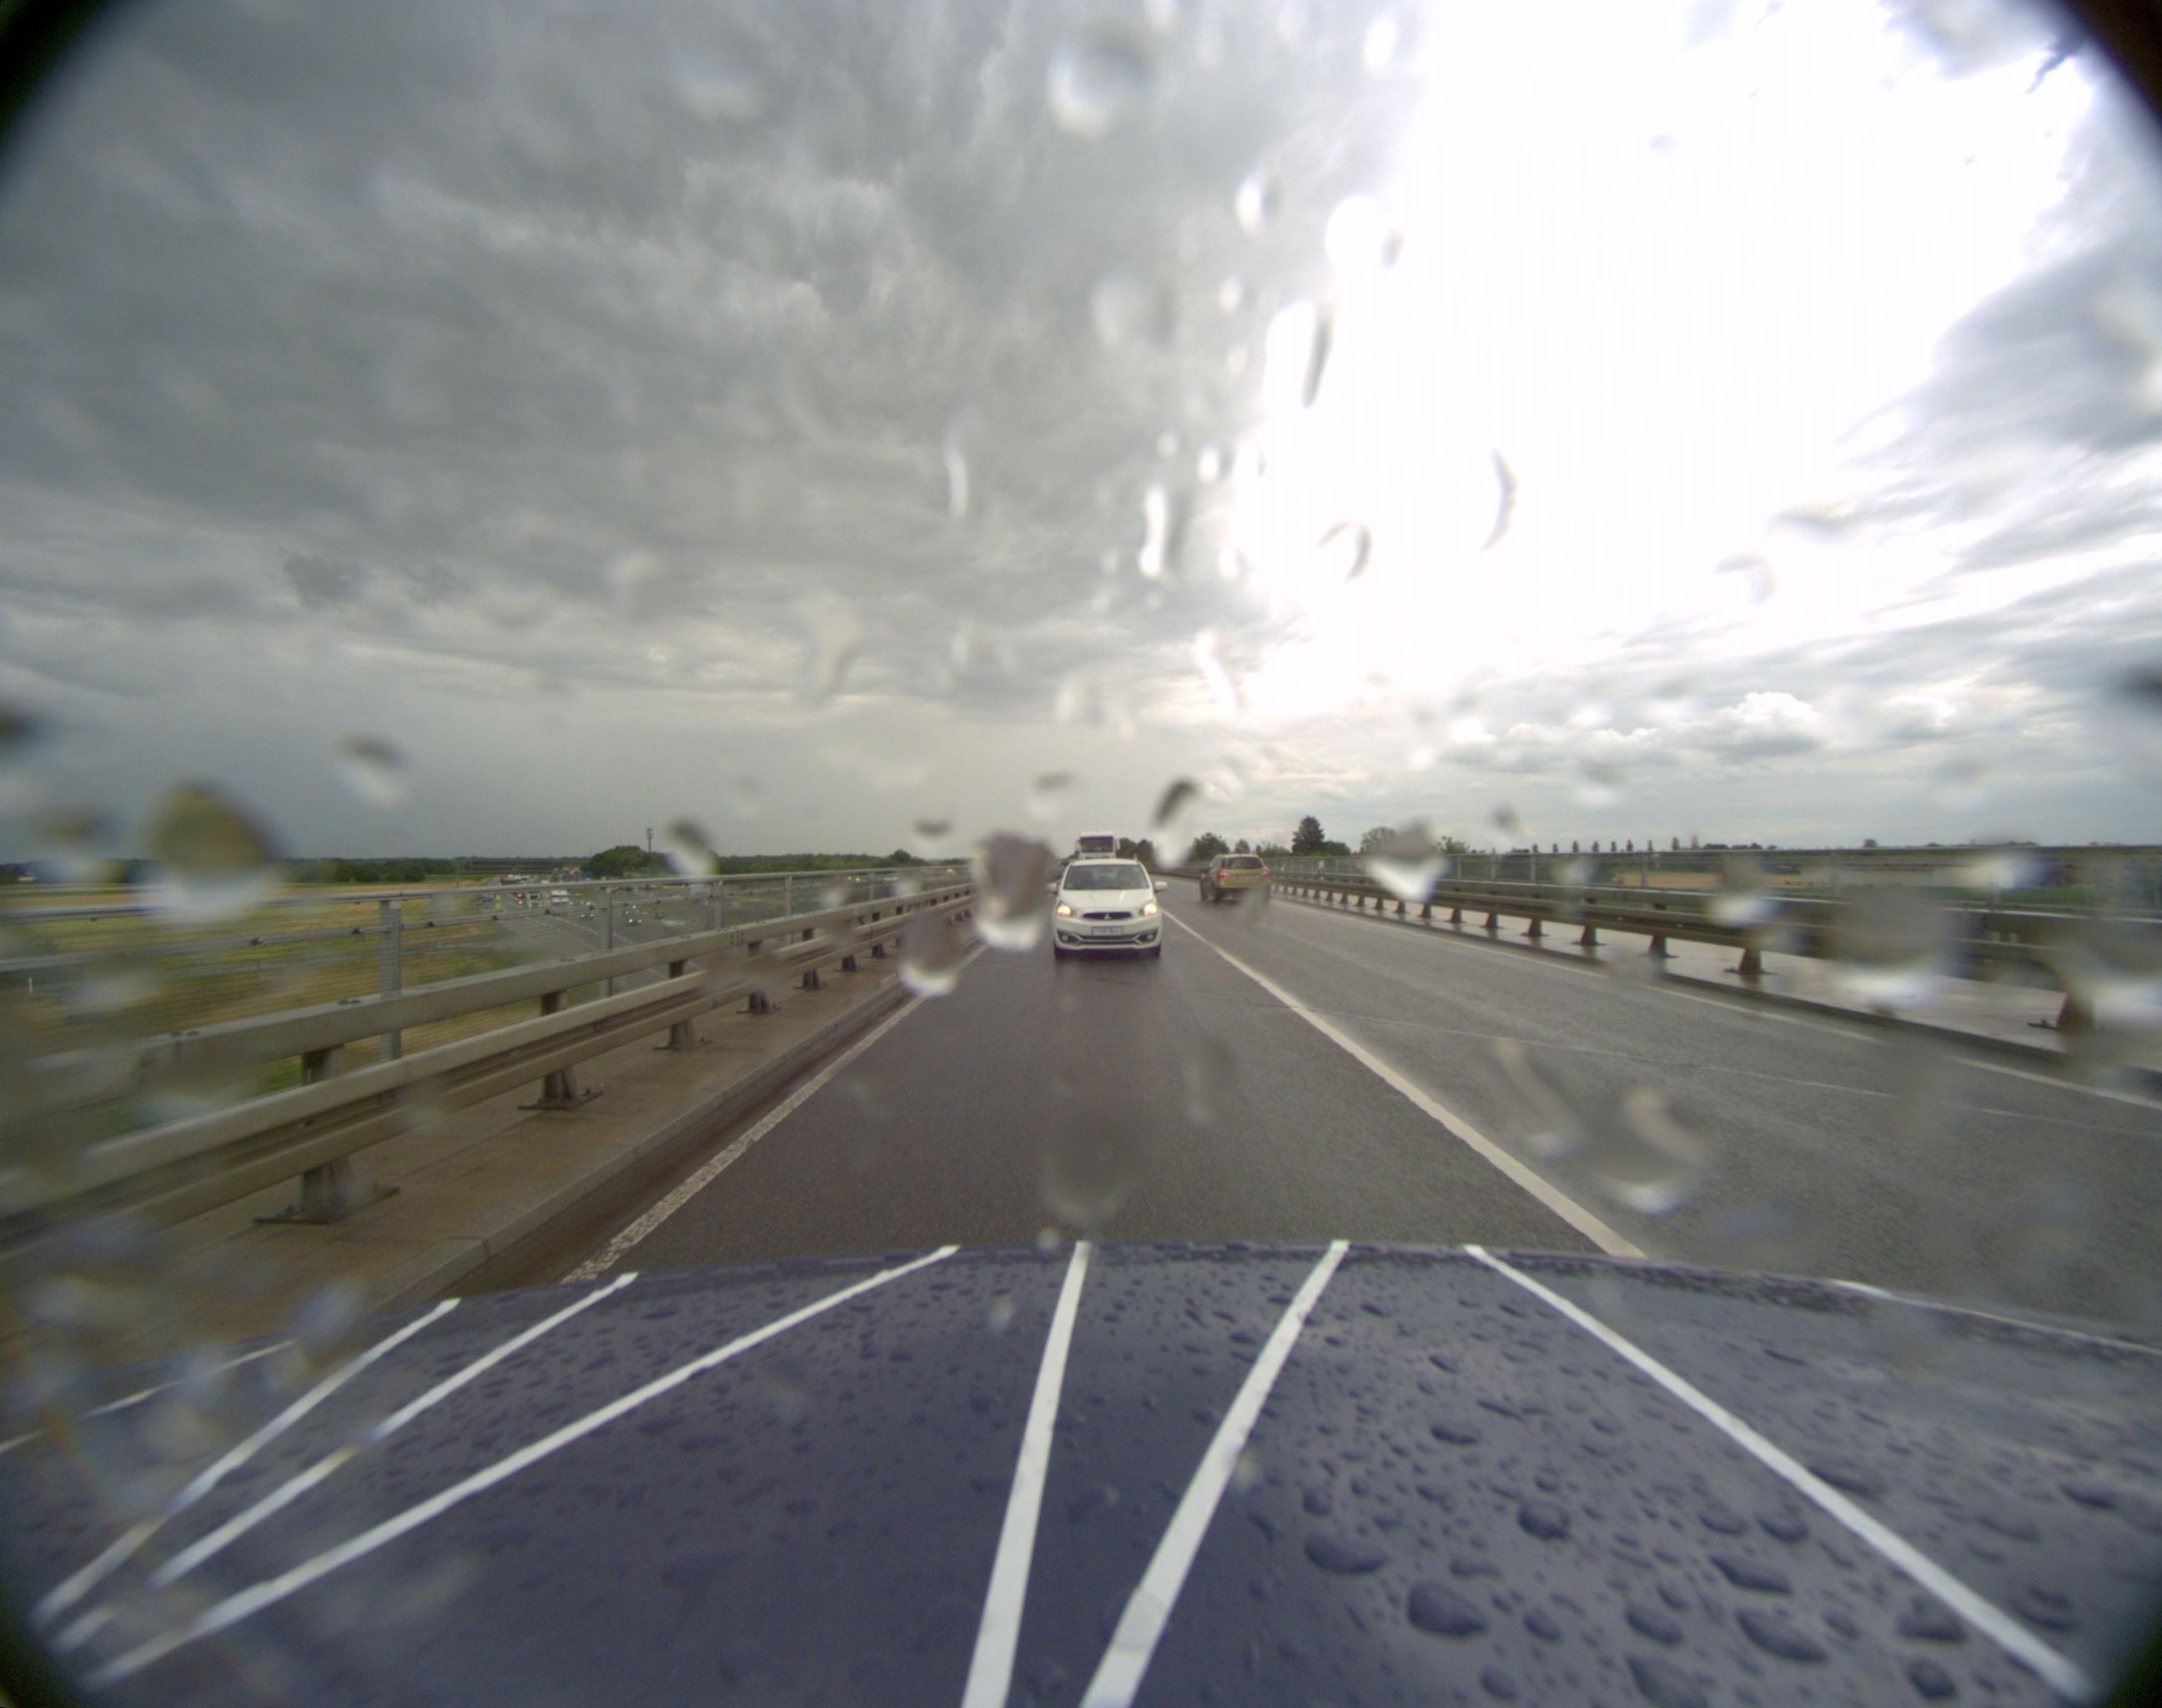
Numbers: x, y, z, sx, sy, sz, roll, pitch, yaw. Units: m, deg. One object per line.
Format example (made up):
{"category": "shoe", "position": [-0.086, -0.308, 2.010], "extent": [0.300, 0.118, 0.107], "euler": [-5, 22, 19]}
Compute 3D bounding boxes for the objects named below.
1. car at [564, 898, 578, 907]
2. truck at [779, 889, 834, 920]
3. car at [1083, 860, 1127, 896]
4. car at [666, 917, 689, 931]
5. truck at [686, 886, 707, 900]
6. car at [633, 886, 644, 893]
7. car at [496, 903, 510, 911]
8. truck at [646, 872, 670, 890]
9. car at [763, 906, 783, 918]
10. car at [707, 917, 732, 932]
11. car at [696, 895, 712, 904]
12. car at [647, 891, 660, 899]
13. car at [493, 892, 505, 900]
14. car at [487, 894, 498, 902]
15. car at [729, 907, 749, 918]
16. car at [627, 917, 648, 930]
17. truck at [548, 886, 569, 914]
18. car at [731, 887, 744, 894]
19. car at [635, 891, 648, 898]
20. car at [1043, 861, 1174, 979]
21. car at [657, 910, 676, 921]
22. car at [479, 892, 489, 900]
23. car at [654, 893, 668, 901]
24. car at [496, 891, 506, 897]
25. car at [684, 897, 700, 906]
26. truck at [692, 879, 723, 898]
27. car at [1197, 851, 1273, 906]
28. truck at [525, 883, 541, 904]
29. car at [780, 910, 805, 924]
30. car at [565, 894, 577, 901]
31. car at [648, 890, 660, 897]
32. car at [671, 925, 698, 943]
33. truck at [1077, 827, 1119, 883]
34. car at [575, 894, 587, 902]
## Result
{"category": "car", "position": [-106.138, 10.007, 158.119], "extent": [1.860, 1.659, 4.712], "euler": [-2, 0, -40]}
{"category": "truck", "position": [-46.265, 8.290, 127.697], "extent": [3.611, 4.511, 15.589], "euler": [-2, 0, -39]}
{"category": "car", "position": [0.974, 0.961, 32.110], "extent": [1.675, 1.366, 4.129], "euler": [-2, 0, 1]}
{"category": "car", "position": [-57.232, 9.884, 107.794], "extent": [1.860, 1.659, 4.712], "euler": [-2, 0, -40]}
{"category": "truck", "position": [-88.907, 8.987, 175.816], "extent": [2.216, 2.948, 9.284], "euler": [-2, 0, -40]}
{"category": "car", "position": [-125.159, 10.026, 214.886], "extent": [1.860, 1.764, 4.712], "euler": [-2, 0, -40]}
{"category": "car", "position": [-113.161, 10.330, 148.749], "extent": [1.818, 1.427, 4.712], "euler": [-2, 0, -41]}
{"category": "truck", "position": [-130.301, 8.329, 234.177], "extent": [3.303, 5.134, 15.588], "euler": [-2, 0, -40]}
{"category": "car", "position": [-52.431, 9.815, 129.284], "extent": [1.860, 1.659, 4.712], "euler": [-2, 0, -40]}
{"category": "car", "position": [-48.045, 9.374, 100.945], "extent": [1.860, 1.659, 4.712], "euler": [-2, 0, -40]}
{"category": "car", "position": [-78.536, 9.511, 158.295], "extent": [1.860, 1.659, 4.712], "euler": [-2, 0, -40]}
{"category": "car", "position": [-106.366, 10.208, 188.998], "extent": [1.860, 1.659, 4.712], "euler": [-2, 0, -40]}
{"category": "car", "position": [-130.078, 9.314, 169.829], "extent": [1.860, 1.659, 4.712], "euler": [-2, 0, -40]}
{"category": "car", "position": [-138.085, 10.374, 178.195], "extent": [1.860, 1.659, 4.712], "euler": [-2, 0, -40]}
{"category": "car", "position": [-58.501, 9.968, 129.976], "extent": [1.860, 1.659, 4.712], "euler": [-2, 0, -40]}
{"category": "car", "position": [-66.102, 10.326, 113.209], "extent": [1.860, 1.659, 4.712], "euler": [-2, 0, -40]}
{"category": "truck", "position": [-100.287, 8.735, 145.713], "extent": [2.799, 4.871, 12.724], "euler": [-2, 0, -36]}
{"category": "car", "position": [-93.382, 9.911, 206.520], "extent": [1.860, 1.659, 4.712], "euler": [-2, 0, -40]}
{"category": "car", "position": [-108.448, 9.967, 187.432], "extent": [1.860, 1.659, 4.712], "euler": [-2, 0, -40]}
{"category": "car", "position": [0.388, 0.890, 12.074], "extent": [1.675, 1.476, 4.129], "euler": [-2, 0, 1]}
{"category": "car", "position": [-69.653, 10.295, 127.551], "extent": [1.860, 1.659, 4.712], "euler": [-2, 0, -40]}
{"category": "car", "position": [-147.431, 10.312, 187.663], "extent": [1.860, 1.659, 4.712], "euler": [-2, 0, -40]}
{"category": "car", "position": [-94.926, 9.718, 171.578], "extent": [1.860, 1.659, 4.712], "euler": [-2, 0, -40]}
{"category": "car", "position": [-154.518, 10.579, 202.280], "extent": [1.819, 1.427, 4.711], "euler": [2, -2, -41]}
{"category": "car", "position": [-79.449, 9.659, 155.319], "extent": [1.860, 1.659, 4.712], "euler": [-2, 0, -40]}
{"category": "truck", "position": [-93.754, 8.535, 190.522], "extent": [3.611, 4.511, 15.589], "euler": [-2, 0, -39]}
{"category": "car", "position": [4.902, 0.727, 24.668], "extent": [1.718, 1.508, 3.859], "euler": [-2, 1, 1]}
{"category": "truck", "position": [-130.373, 9.313, 180.796], "extent": [2.799, 4.590, 12.724], "euler": [-2, 0, -36]}
{"category": "car", "position": [-42.564, 9.298, 112.152], "extent": [1.860, 1.659, 4.712], "euler": [-2, 0, -42]}
{"category": "car", "position": [-125.999, 10.688, 187.742], "extent": [1.860, 1.659, 4.712], "euler": [-2, 0, -40]}
{"category": "car", "position": [-112.126, 10.282, 199.519], "extent": [1.860, 1.659, 4.712], "euler": [-2, 0, -40]}
{"category": "car", "position": [-46.232, 9.323, 88.532], "extent": [1.860, 1.659, 4.712], "euler": [-2, 0, -40]}
{"category": "truck", "position": [1.097, -0.079, 54.044], "extent": [2.630, 3.537, 8.475], "euler": [-2, 2, 0]}
{"category": "car", "position": [-117.930, 10.263, 179.085], "extent": [1.860, 1.659, 4.712], "euler": [-2, 0, -40]}
